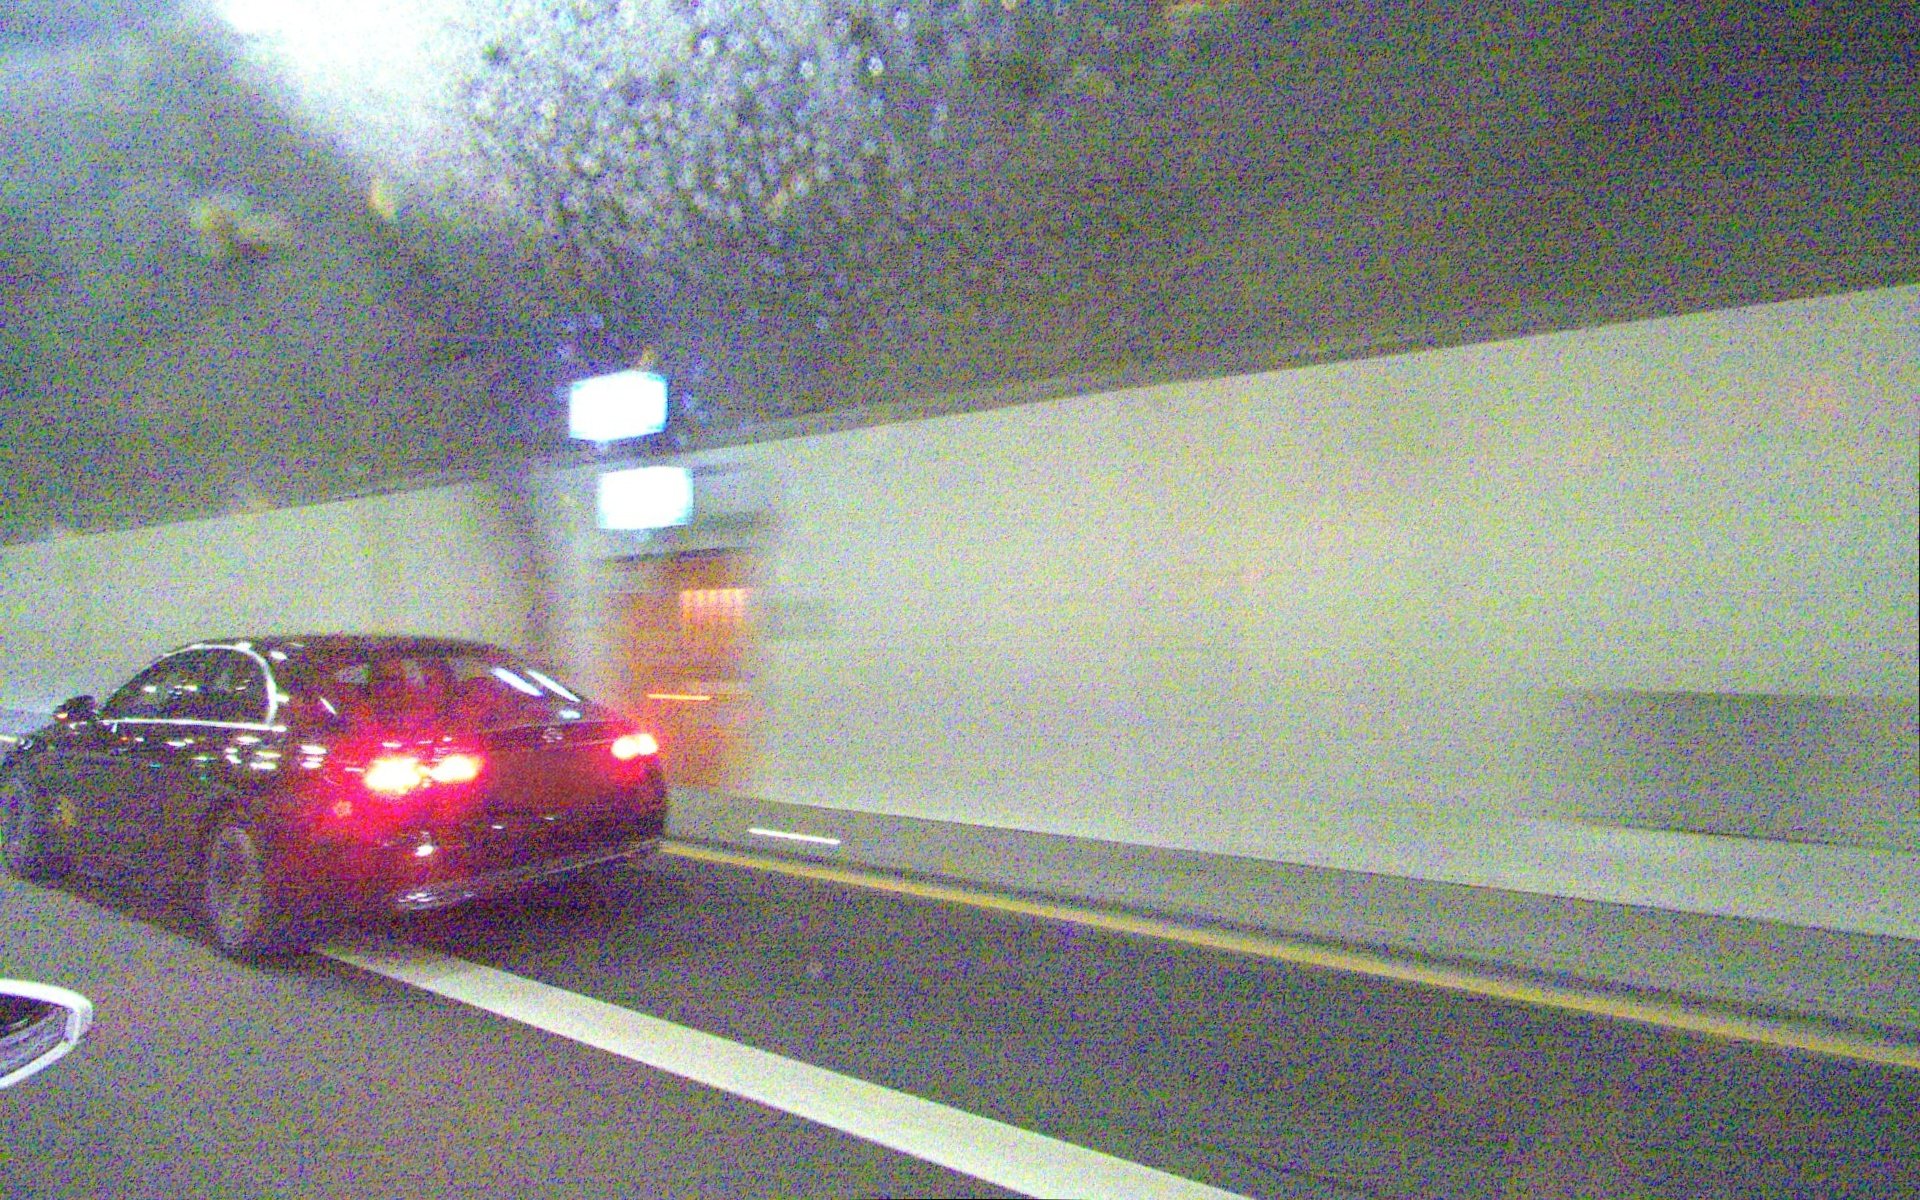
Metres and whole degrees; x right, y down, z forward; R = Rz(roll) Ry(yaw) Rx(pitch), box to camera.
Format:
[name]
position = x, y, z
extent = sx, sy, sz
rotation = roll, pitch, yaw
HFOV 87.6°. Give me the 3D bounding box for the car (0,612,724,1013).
[car]
position = -3.838, 0.885, 5.884
extent = 4.884, 1.491, 1.923
rotation = -1, -3, 33
